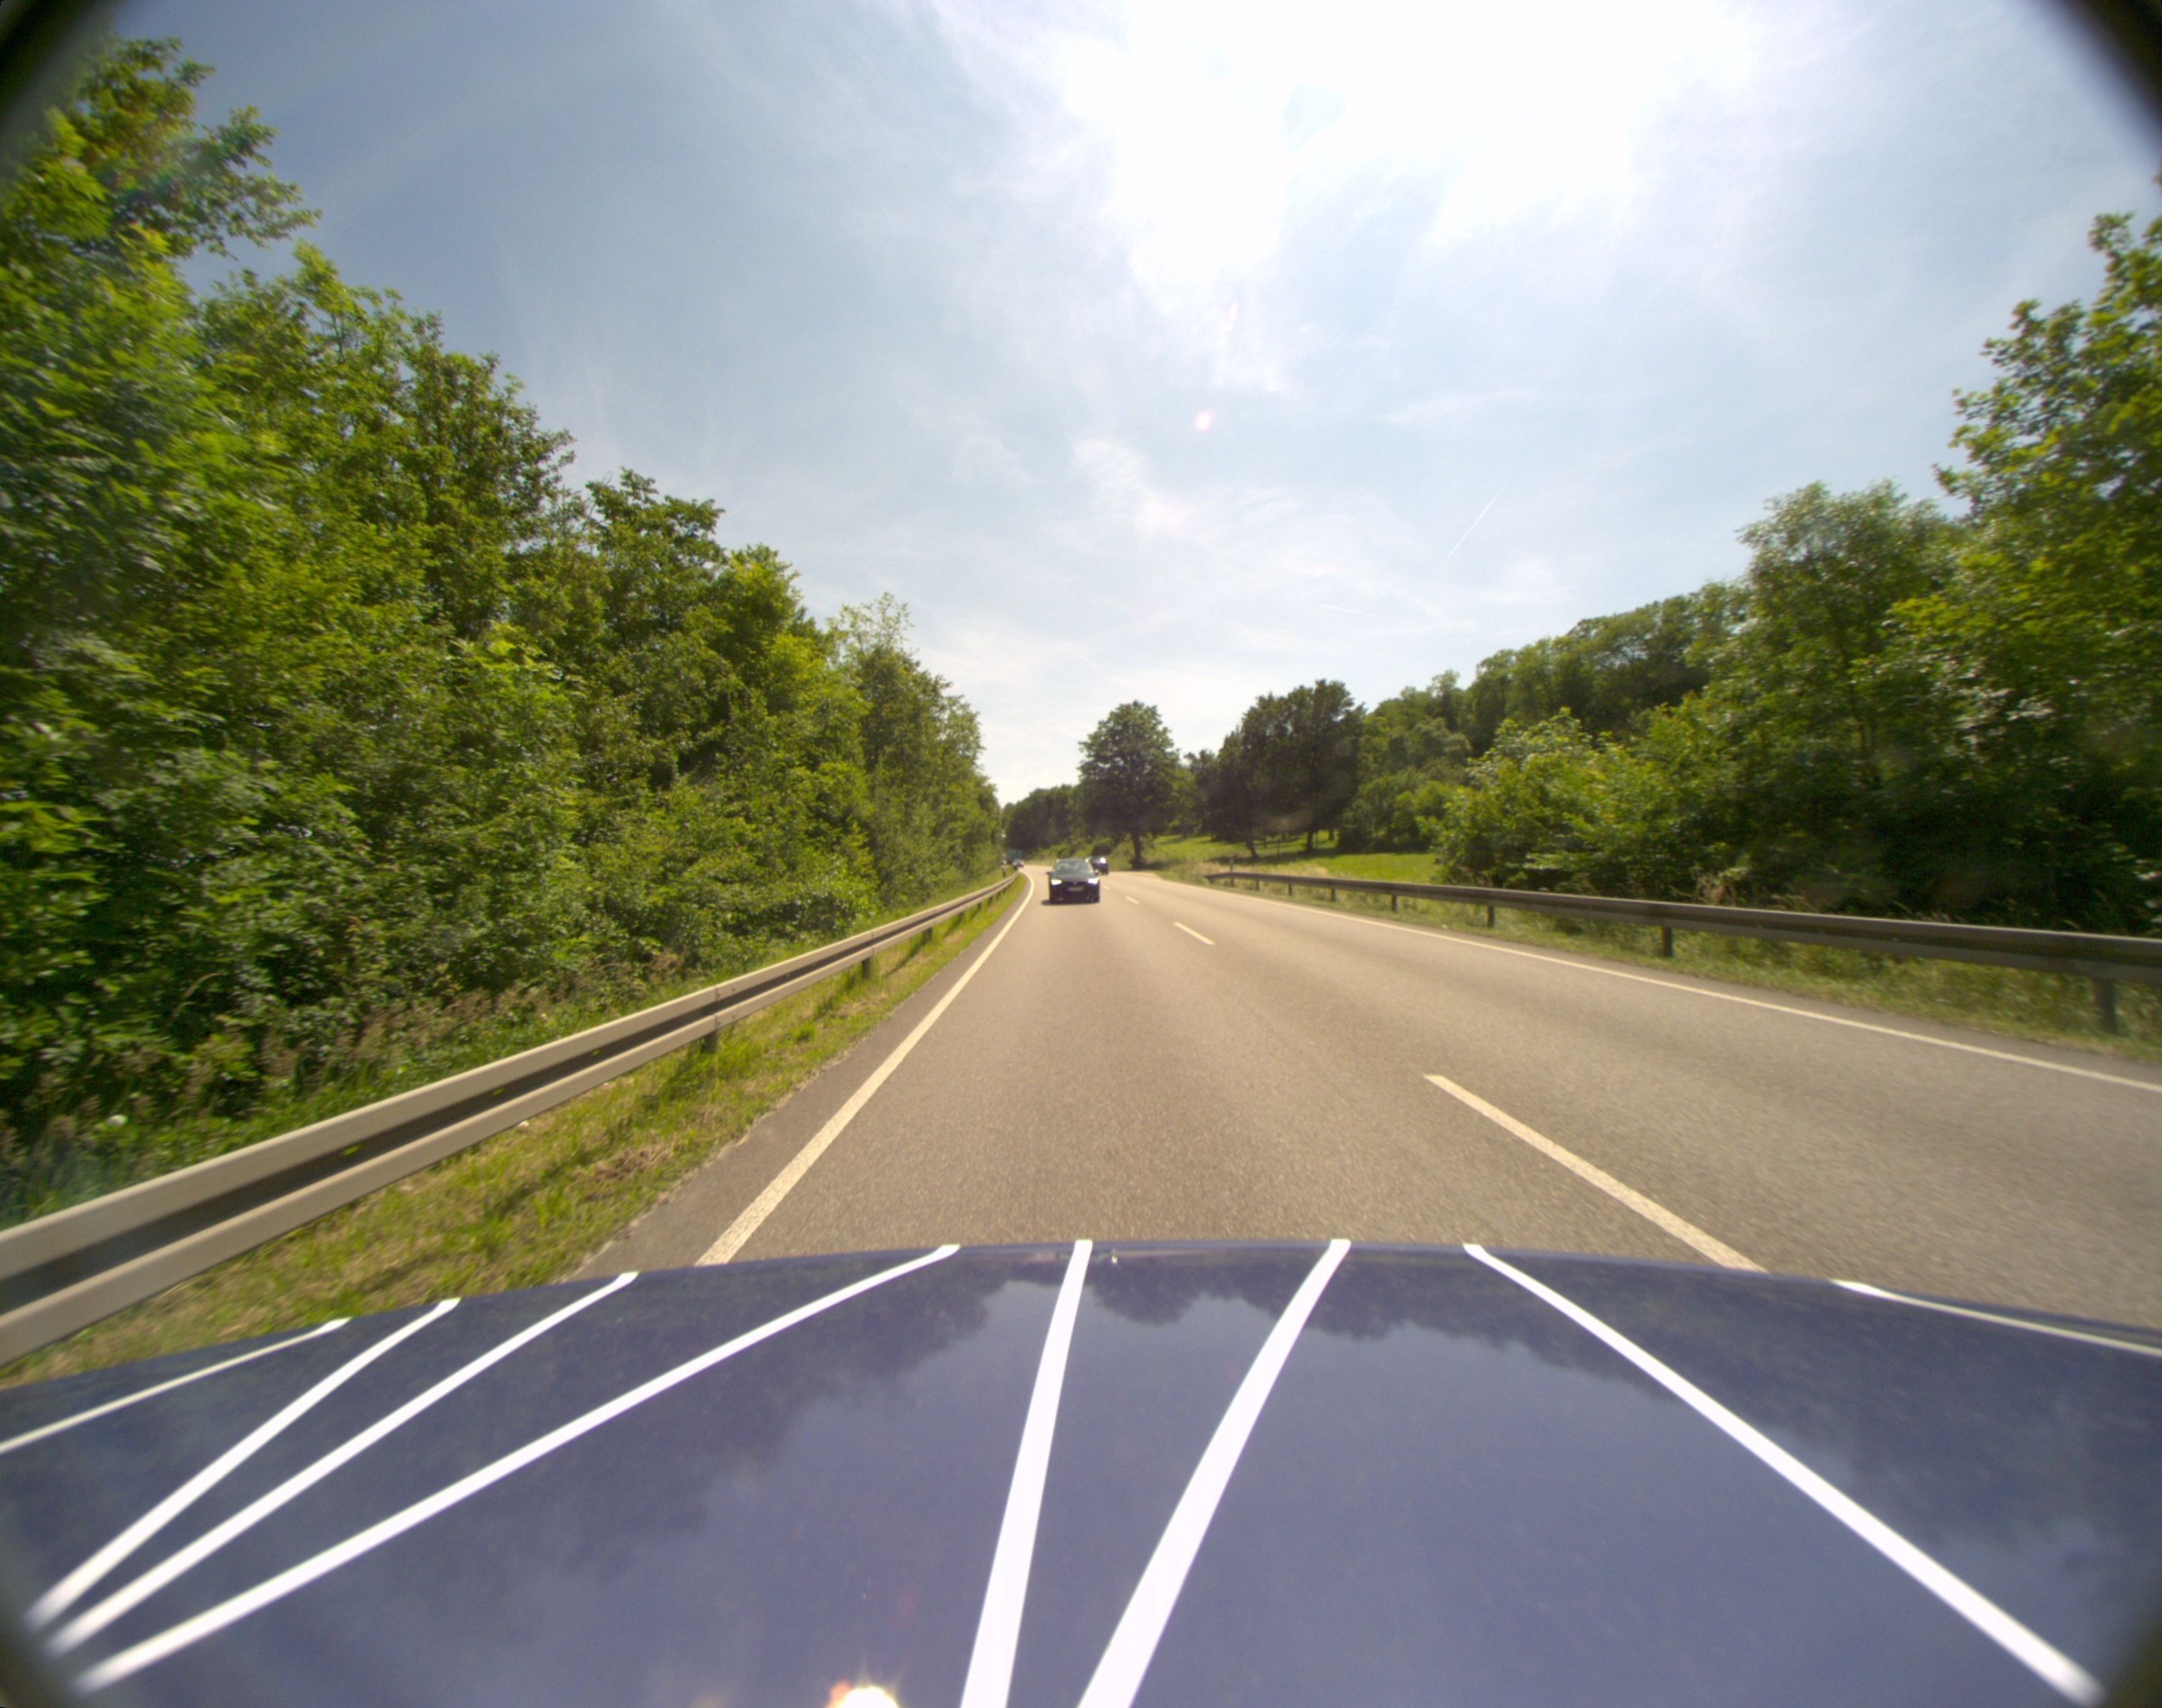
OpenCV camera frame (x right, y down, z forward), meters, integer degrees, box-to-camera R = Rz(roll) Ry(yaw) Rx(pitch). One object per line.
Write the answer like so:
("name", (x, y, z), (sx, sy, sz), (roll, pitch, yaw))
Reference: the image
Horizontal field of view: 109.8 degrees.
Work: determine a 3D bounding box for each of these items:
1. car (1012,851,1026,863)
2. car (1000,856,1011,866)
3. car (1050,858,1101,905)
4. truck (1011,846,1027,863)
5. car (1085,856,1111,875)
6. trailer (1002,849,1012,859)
("car", (-10.962, 0.585, 134.122), (2.000, 2.002, 3.997), (-3, 1, -8))
("car", (-16.844, 1.595, 169.472), (2.000, 2.002, 3.996), (-3, 1, -10))
("car", (-0.256, 0.930, 27.122), (1.662, 1.531, 3.486), (-2, -1, -2))
("truck", (-15.576, 0.160, 189.935), (2.569, 3.916, 16.147), (-3, 0, -9))
("car", (1.405, 0.935, 64.647), (1.869, 1.518, 3.889), (-2, 0, -4))
("trailer", (-21.401, 0.036, 219.324), (2.652, 2.856, 7.071), (-1, 0, -9))
